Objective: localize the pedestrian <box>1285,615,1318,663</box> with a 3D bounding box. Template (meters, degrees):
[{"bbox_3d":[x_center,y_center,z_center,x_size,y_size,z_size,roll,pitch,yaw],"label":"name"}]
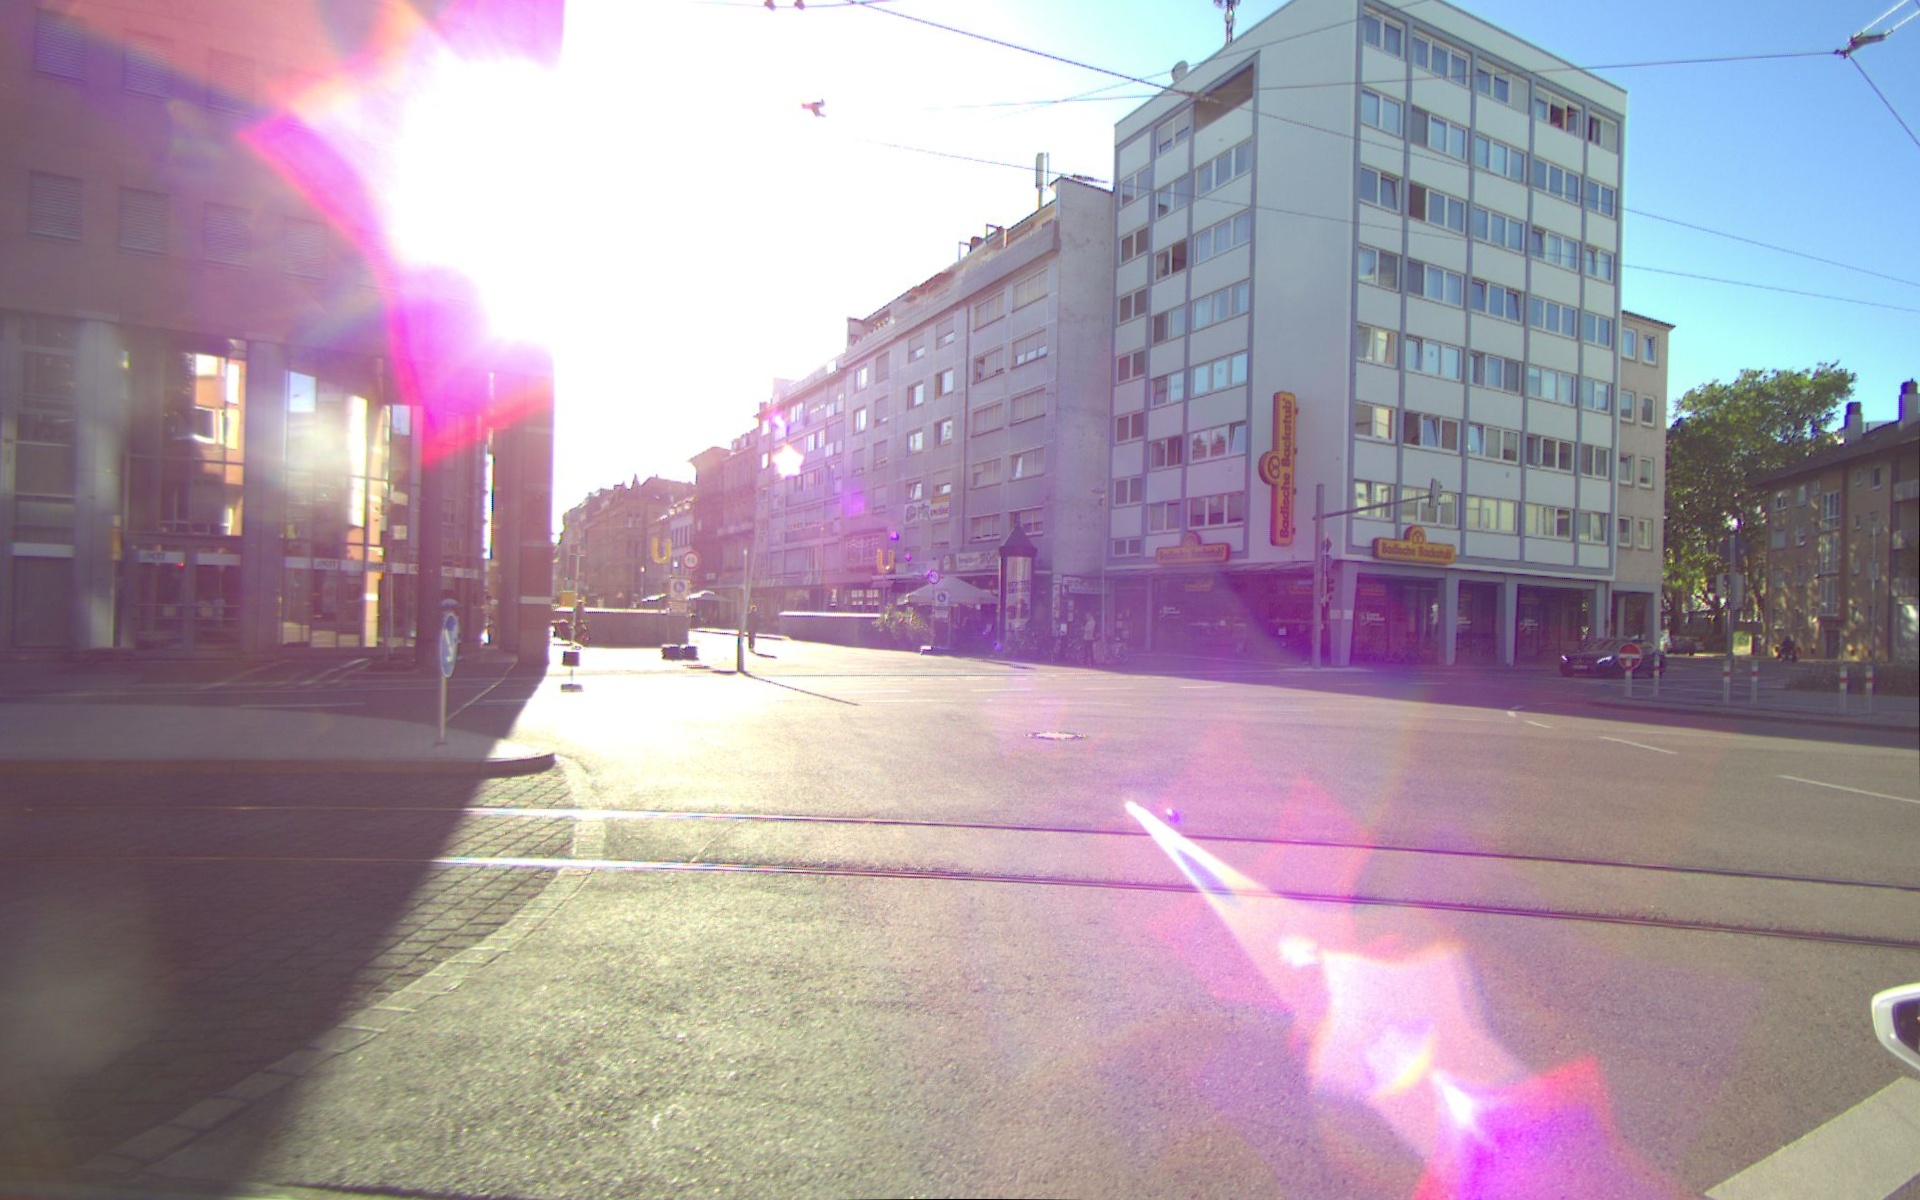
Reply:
[{"bbox_3d":[12.674,1.448,37.301,0.766,1.747,0.802,2,0,-28],"label":"pedestrian"}]

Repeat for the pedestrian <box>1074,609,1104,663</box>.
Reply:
[{"bbox_3d":[4.408,1.233,34.358,0.775,1.815,0.625,1,1,-28],"label":"pedestrian"}]

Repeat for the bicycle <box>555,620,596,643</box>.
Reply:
[{"bbox_3d":[-15.135,1.250,39.513,1.988,0.818,0.614,2,0,39],"label":"bicycle"}]

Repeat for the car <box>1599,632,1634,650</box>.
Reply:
[{"bbox_3d":[68.737,4.312,105.227,1.998,1.782,4.095,1,-1,16],"label":"car"}]

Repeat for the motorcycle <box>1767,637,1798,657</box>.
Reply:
[{"bbox_3d":[49.514,2.828,60.468,2.783,1.147,0.964,2,0,-41],"label":"motorcycle"}]

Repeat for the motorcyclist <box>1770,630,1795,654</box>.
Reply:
[{"bbox_3d":[49.475,2.542,60.427,1.129,1.365,0.962,2,1,-41],"label":"motorcyclist"}]

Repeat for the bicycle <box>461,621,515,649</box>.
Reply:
[{"bbox_3d":[-16.399,1.203,34.877,1.928,0.924,0.583,1,-1,25],"label":"bicycle"}]

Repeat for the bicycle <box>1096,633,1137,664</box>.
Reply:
[{"bbox_3d":[5.638,1.721,36.069,0.587,1.067,1.999,1,-1,36],"label":"bicycle"}]

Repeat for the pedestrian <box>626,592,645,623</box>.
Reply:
[{"bbox_3d":[-18.466,0.431,57.165,0.683,1.687,0.753,2,-1,11],"label":"pedestrian"}]

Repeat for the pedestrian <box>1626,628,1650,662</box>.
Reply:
[{"bbox_3d":[35.706,2.378,52.898,0.791,1.747,0.777,2,0,13],"label":"pedestrian"}]

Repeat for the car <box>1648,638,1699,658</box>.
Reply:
[{"bbox_3d":[55.432,3.699,78.105,1.891,1.407,4.002,2,-1,14],"label":"car"}]

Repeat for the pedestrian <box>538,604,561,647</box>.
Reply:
[{"bbox_3d":[-15.018,0.935,36.753,0.483,1.557,0.559,3,1,44],"label":"pedestrian"}]

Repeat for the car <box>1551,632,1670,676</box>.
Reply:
[{"bbox_3d":[23.173,1.921,35.752,4.545,1.404,1.823,3,-2,-32],"label":"car"}]

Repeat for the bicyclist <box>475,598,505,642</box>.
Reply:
[{"bbox_3d":[-16.299,0.694,34.835,0.735,1.504,0.582,1,0,26],"label":"bicyclist"}]

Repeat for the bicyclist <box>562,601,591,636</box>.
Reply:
[{"bbox_3d":[-15.079,0.720,39.485,0.943,1.329,0.614,2,0,39],"label":"bicyclist"}]

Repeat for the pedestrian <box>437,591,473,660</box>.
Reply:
[{"bbox_3d":[-12.144,0.610,24.149,0.714,1.640,0.637,2,-1,-27],"label":"pedestrian"}]

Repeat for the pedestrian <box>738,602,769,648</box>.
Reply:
[{"bbox_3d":[-7.722,0.923,37.578,0.866,1.687,0.908,2,-1,7],"label":"pedestrian"}]

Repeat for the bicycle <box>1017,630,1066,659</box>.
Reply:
[{"bbox_3d":[3.121,1.689,38.462,1.988,1.067,0.590,2,-1,-38],"label":"bicycle"}]

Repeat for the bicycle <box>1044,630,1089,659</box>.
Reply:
[{"bbox_3d":[4.041,1.665,37.838,0.588,1.067,1.995,1,-1,43],"label":"bicycle"}]

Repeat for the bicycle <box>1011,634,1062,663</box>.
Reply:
[{"bbox_3d":[3.020,1.916,39.604,1.979,1.067,0.593,2,0,-25],"label":"bicycle"}]

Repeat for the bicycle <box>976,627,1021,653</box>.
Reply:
[{"bbox_3d":[1.659,1.706,42.907,1.818,1.067,0.594,2,-1,-21],"label":"bicycle"}]

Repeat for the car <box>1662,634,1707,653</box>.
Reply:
[{"bbox_3d":[63.769,3.824,88.485,1.998,1.524,4.095,1,-1,16],"label":"car"}]
